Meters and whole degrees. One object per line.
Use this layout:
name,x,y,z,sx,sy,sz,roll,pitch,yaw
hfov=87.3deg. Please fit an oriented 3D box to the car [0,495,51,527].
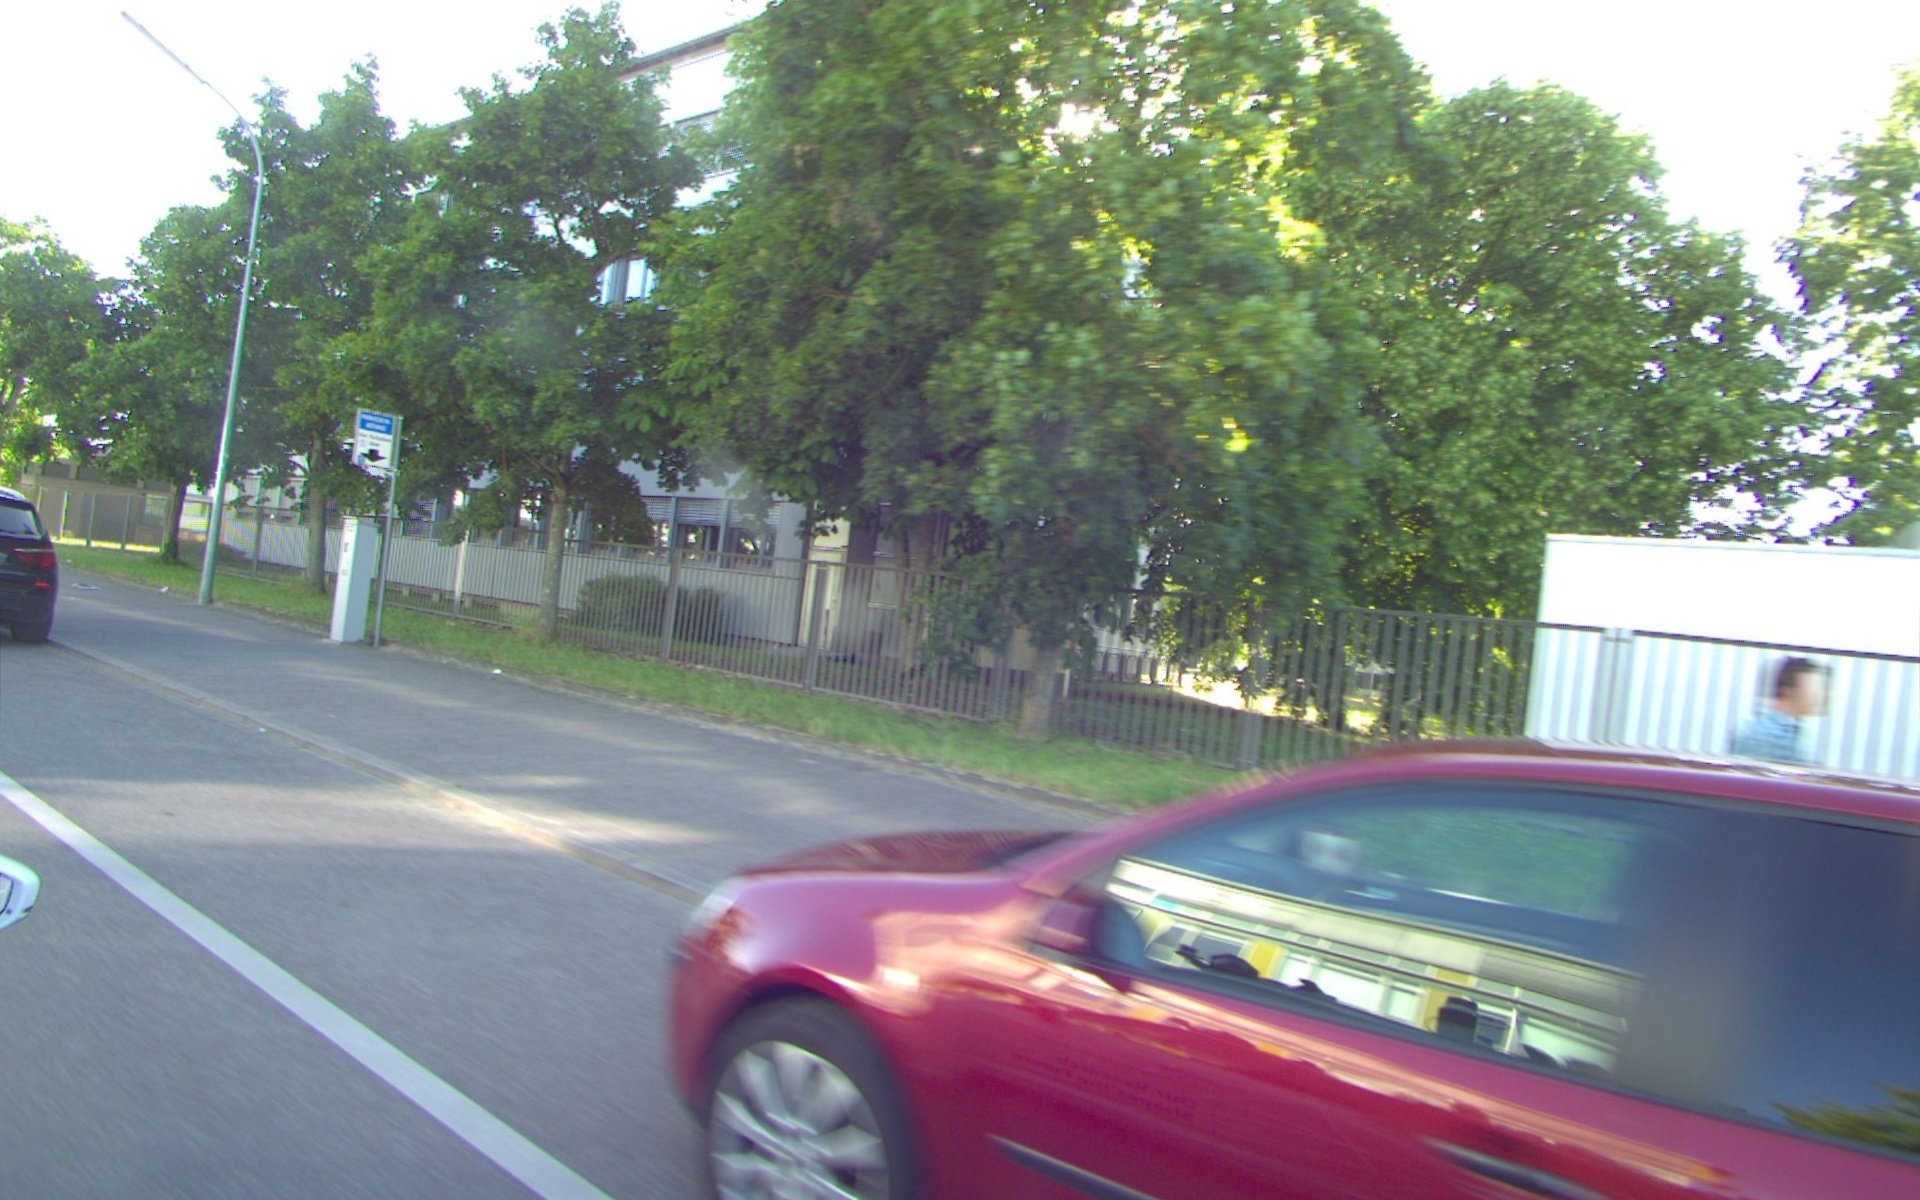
car,-75.555,-7.146,80.256,1.967,2.037,3.994,5,-2,32

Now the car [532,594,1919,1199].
car,1.316,1.019,2.097,4.577,1.471,1.722,6,-2,34

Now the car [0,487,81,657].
car,-11.782,-0.573,11.248,4.520,1.685,1.814,7,-2,36

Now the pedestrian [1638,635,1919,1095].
pedestrian,3.735,1.102,4.600,0.871,1.781,0.717,7,2,35
